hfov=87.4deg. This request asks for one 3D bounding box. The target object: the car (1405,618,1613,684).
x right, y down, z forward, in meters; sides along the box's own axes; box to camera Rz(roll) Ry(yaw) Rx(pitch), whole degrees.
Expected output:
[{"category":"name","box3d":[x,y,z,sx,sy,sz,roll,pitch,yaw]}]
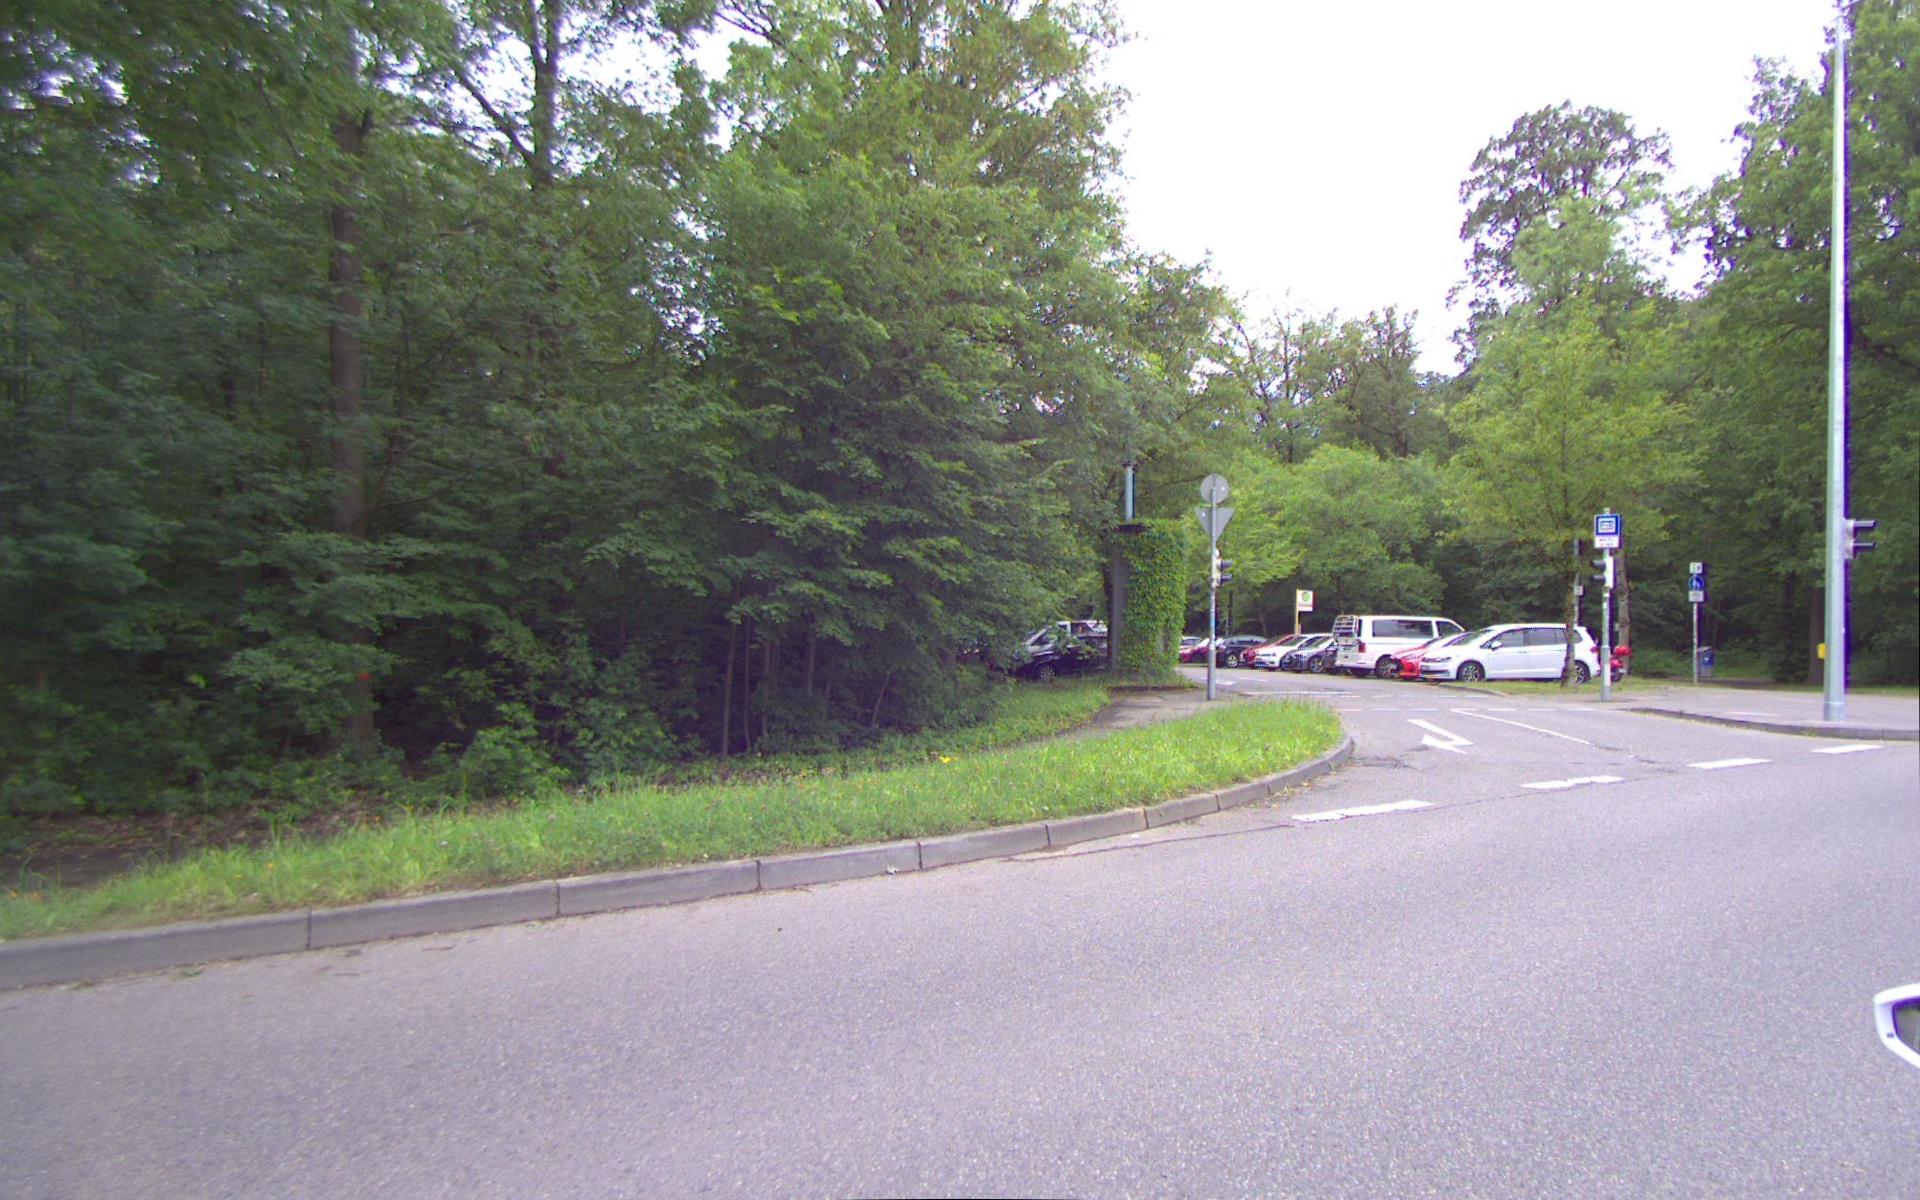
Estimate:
[{"category":"car","box3d":[14.836,1.378,27.370,4.444,1.715,2.166,0,-3,1]}]

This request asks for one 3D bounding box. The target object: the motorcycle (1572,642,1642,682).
[{"category":"motorcycle","box3d":[20.321,1.942,31.606,0.665,1.176,2.008,1,-2,-10]}]

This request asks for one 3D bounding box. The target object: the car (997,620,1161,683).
[{"category":"car","box3d":[3.792,1.657,32.560,5.004,1.940,1.978,0,-2,-3]}]

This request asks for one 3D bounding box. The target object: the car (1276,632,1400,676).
[{"category":"car","box3d":[14.083,2.027,37.526,3.925,1.502,1.876,2,-4,-6]}]

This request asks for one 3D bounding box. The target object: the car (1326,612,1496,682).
[{"category":"car","box3d":[14.585,1.502,32.675,4.575,2.048,2.082,2,-1,-4]}]

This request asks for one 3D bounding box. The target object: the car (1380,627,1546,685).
[{"category":"car","box3d":[14.867,1.637,29.849,3.930,1.576,1.947,1,-2,2]}]

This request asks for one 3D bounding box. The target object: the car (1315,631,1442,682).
[{"category":"car","box3d":[14.652,1.964,35.278,3.664,1.575,1.844,2,0,-6]}]

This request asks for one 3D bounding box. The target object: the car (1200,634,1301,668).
[{"category":"car","box3d":[13.000,2.275,45.056,3.926,1.502,1.920,0,-3,-8]}]

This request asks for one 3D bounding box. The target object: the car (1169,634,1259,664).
[{"category":"car","box3d":[12.633,2.447,50.108,3.930,1.468,1.937,0,-3,-12]}]

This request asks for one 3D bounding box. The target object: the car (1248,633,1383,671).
[{"category":"car","box3d":[14.080,2.051,39.900,4.696,1.495,1.852,0,-2,-5]}]

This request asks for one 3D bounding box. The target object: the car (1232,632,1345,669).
[{"category":"car","box3d":[13.891,2.142,42.594,4.164,1.500,1.917,1,-3,-8]}]

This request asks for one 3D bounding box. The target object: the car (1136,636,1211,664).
[{"category":"car","box3d":[11.702,2.740,55.060,3.648,1.530,1.748,1,-3,-12]}]

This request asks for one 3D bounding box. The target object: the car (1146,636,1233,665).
[{"category":"car","box3d":[12.007,2.666,52.697,4.065,1.480,1.862,0,-3,-10]}]

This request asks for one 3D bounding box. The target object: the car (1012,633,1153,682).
[{"category":"car","box3d":[3.574,1.691,29.711,3.923,1.397,1.722,1,-2,-4]}]
